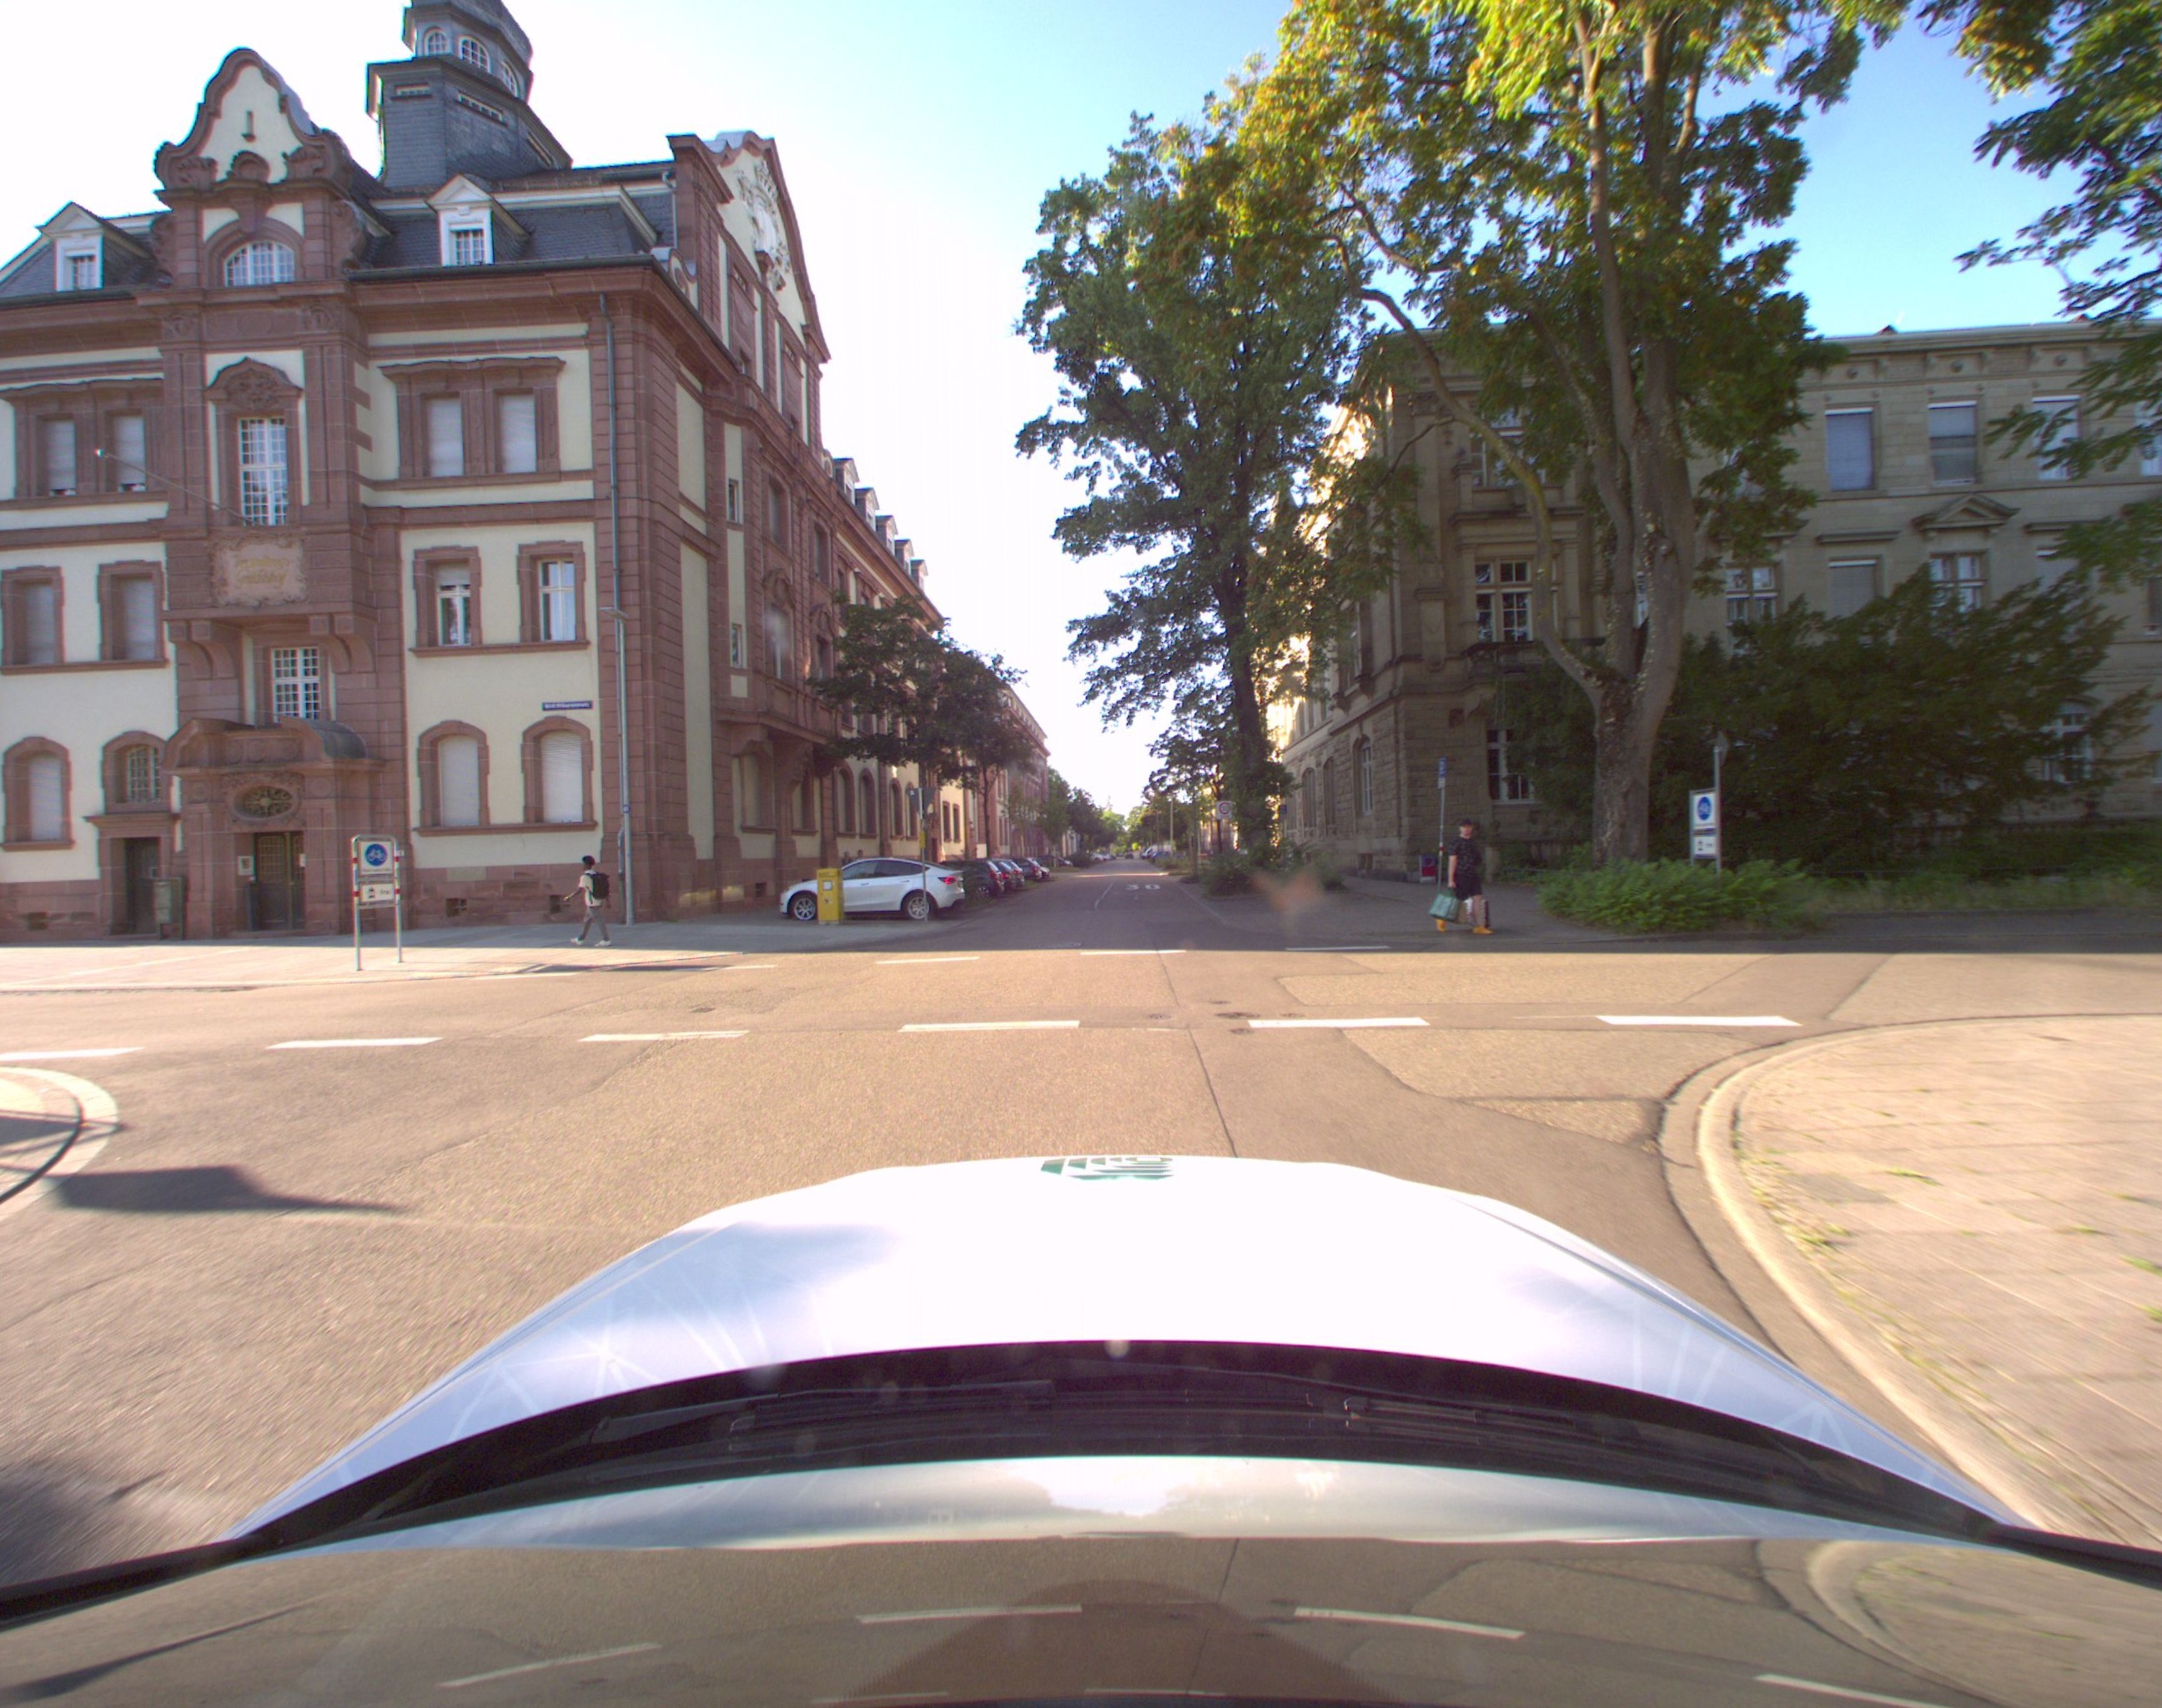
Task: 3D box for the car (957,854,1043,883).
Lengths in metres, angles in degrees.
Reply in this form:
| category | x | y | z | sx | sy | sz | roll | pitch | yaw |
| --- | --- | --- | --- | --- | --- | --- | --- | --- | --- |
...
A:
| category | x | y | z | sx | sy | sz | roll | pitch | yaw |
| --- | --- | --- | --- | --- | --- | --- | --- | --- | --- |
| car | -4.255 | 0.760 | 43.450 | 4.364 | 1.496 | 1.967 | 0 | 0 | 0 |

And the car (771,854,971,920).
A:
| category | x | y | z | sx | sy | sz | roll | pitch | yaw |
| --- | --- | --- | --- | --- | --- | --- | --- | --- | --- |
| car | -5.371 | 0.823 | 21.326 | 4.690 | 1.589 | 1.967 | 1 | 0 | 0 |

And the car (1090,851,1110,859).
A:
| category | x | y | z | sx | sy | sz | roll | pitch | yaw |
| --- | --- | --- | --- | --- | --- | --- | --- | --- | --- |
| car | 3.889 | 0.174 | 166.112 | 4.071 | 1.494 | 1.934 | -2 | 0 | 3 |

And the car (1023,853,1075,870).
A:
| category | x | y | z | sx | sy | sz | roll | pitch | yaw |
| --- | --- | --- | --- | --- | --- | --- | --- | --- | --- |
| car | -2.807 | 0.666 | 72.370 | 4.360 | 1.496 | 1.968 | 0 | 0 | 3 |

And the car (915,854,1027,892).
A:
| category | x | y | z | sx | sy | sz | roll | pitch | yaw |
| --- | --- | --- | --- | --- | --- | --- | --- | --- | --- |
| car | -4.547 | 0.770 | 34.152 | 4.364 | 1.496 | 1.967 | 0 | 0 | 0 |

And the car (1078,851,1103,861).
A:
| category | x | y | z | sx | sy | sz | roll | pitch | yaw |
| --- | --- | --- | --- | --- | --- | --- | --- | --- | --- |
| car | 1.576 | 0.356 | 133.688 | 4.071 | 1.494 | 1.934 | -2 | 0 | 3 |

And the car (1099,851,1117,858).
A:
| category | x | y | z | sx | sy | sz | roll | pitch | yaw |
| --- | --- | --- | --- | --- | --- | --- | --- | --- | --- |
| car | 6.142 | 0.148 | 184.970 | 4.071 | 1.494 | 1.934 | -2 | 0 | 3 |

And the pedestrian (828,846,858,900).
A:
| category | x | y | z | sx | sy | sz | roll | pitch | yaw |
| --- | --- | --- | --- | --- | --- | --- | --- | --- | --- |
| pedestrian | -8.223 | 0.654 | 28.164 | 0.783 | 1.840 | 0.718 | 0 | 0 | 6 |

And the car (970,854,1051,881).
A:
| category | x | y | z | sx | sy | sz | roll | pitch | yaw |
| --- | --- | --- | --- | --- | --- | --- | --- | --- | --- |
| car | -3.955 | 0.736 | 45.944 | 4.364 | 1.496 | 1.967 | 0 | 0 | 0 |

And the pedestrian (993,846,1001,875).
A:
| category | x | y | z | sx | sy | sz | roll | pitch | yaw |
| --- | --- | --- | --- | --- | --- | --- | --- | --- | --- |
| pedestrian | -5.831 | 0.469 | 56.759 | 0.433 | 2.013 | 0.464 | -2 | 0 | 4 |

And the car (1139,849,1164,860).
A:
| category | x | y | z | sx | sy | sz | roll | pitch | yaw |
| --- | --- | --- | --- | --- | --- | --- | --- | --- | --- |
| car | 11.327 | 0.038 | 130.980 | 3.970 | 1.618 | 1.790 | -2 | 0 | 3 |

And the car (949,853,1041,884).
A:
| category | x | y | z | sx | sy | sz | roll | pitch | yaw |
| --- | --- | --- | --- | --- | --- | --- | --- | --- | --- |
| car | -4.251 | 0.713 | 40.852 | 4.364 | 1.496 | 1.967 | 0 | 0 | 0 |

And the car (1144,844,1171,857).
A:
| category | x | y | z | sx | sy | sz | roll | pitch | yaw |
| --- | --- | --- | --- | --- | --- | --- | --- | --- | --- |
| car | 13.673 | -0.588 | 146.342 | 4.684 | 2.103 | 2.002 | -2 | 0 | 3 |

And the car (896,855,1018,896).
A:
| category | x | y | z | sx | sy | sz | roll | pitch | yaw |
| --- | --- | --- | --- | --- | --- | --- | --- | --- | --- |
| car | -4.707 | 0.791 | 31.343 | 4.364 | 1.496 | 1.967 | 0 | 0 | 0 |

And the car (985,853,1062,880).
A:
| category | x | y | z | sx | sy | sz | roll | pitch | yaw |
| --- | --- | --- | --- | --- | --- | --- | --- | --- | --- |
| car | -3.373 | 0.729 | 48.118 | 4.364 | 1.496 | 1.967 | 0 | 0 | 0 |

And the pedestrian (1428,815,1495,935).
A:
| category | x | y | z | sx | sy | sz | roll | pitch | yaw |
| --- | --- | --- | --- | --- | --- | --- | --- | --- | --- |
| pedestrian | 6.309 | 0.335 | 13.504 | 0.722 | 1.918 | 0.610 | -2 | 0 | -20 |

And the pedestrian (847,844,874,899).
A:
| category | x | y | z | sx | sy | sz | roll | pitch | yaw |
| --- | --- | --- | --- | --- | --- | --- | --- | --- | --- |
| pedestrian | -7.470 | 0.589 | 27.613 | 0.720 | 1.840 | 0.614 | 0 | 0 | 6 |

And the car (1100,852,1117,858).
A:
| category | x | y | z | sx | sy | sz | roll | pitch | yaw |
| --- | --- | --- | --- | --- | --- | --- | --- | --- | --- |
| car | 7.054 | 0.302 | 208.393 | 4.071 | 1.494 | 1.934 | -2 | 0 | 3 |

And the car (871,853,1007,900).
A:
| category | x | y | z | sx | sy | sz | roll | pitch | yaw |
| --- | --- | --- | --- | --- | --- | --- | --- | --- | --- |
| car | -4.869 | 0.759 | 28.367 | 4.364 | 1.585 | 1.967 | 0 | 0 | 0 |

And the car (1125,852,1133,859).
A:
| category | x | y | z | sx | sy | sz | roll | pitch | yaw |
| --- | --- | --- | --- | --- | --- | --- | --- | --- | --- |
| car | 12.328 | 0.316 | 208.497 | 1.738 | 1.706 | 3.673 | -2 | 0 | 0 |

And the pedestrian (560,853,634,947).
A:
| category | x | y | z | sx | sy | sz | roll | pitch | yaw |
| --- | --- | --- | --- | --- | --- | --- | --- | --- | --- |
| pedestrian | -9.154 | 0.859 | 15.420 | 0.995 | 1.718 | 0.535 | -2 | 1 | 4 |
